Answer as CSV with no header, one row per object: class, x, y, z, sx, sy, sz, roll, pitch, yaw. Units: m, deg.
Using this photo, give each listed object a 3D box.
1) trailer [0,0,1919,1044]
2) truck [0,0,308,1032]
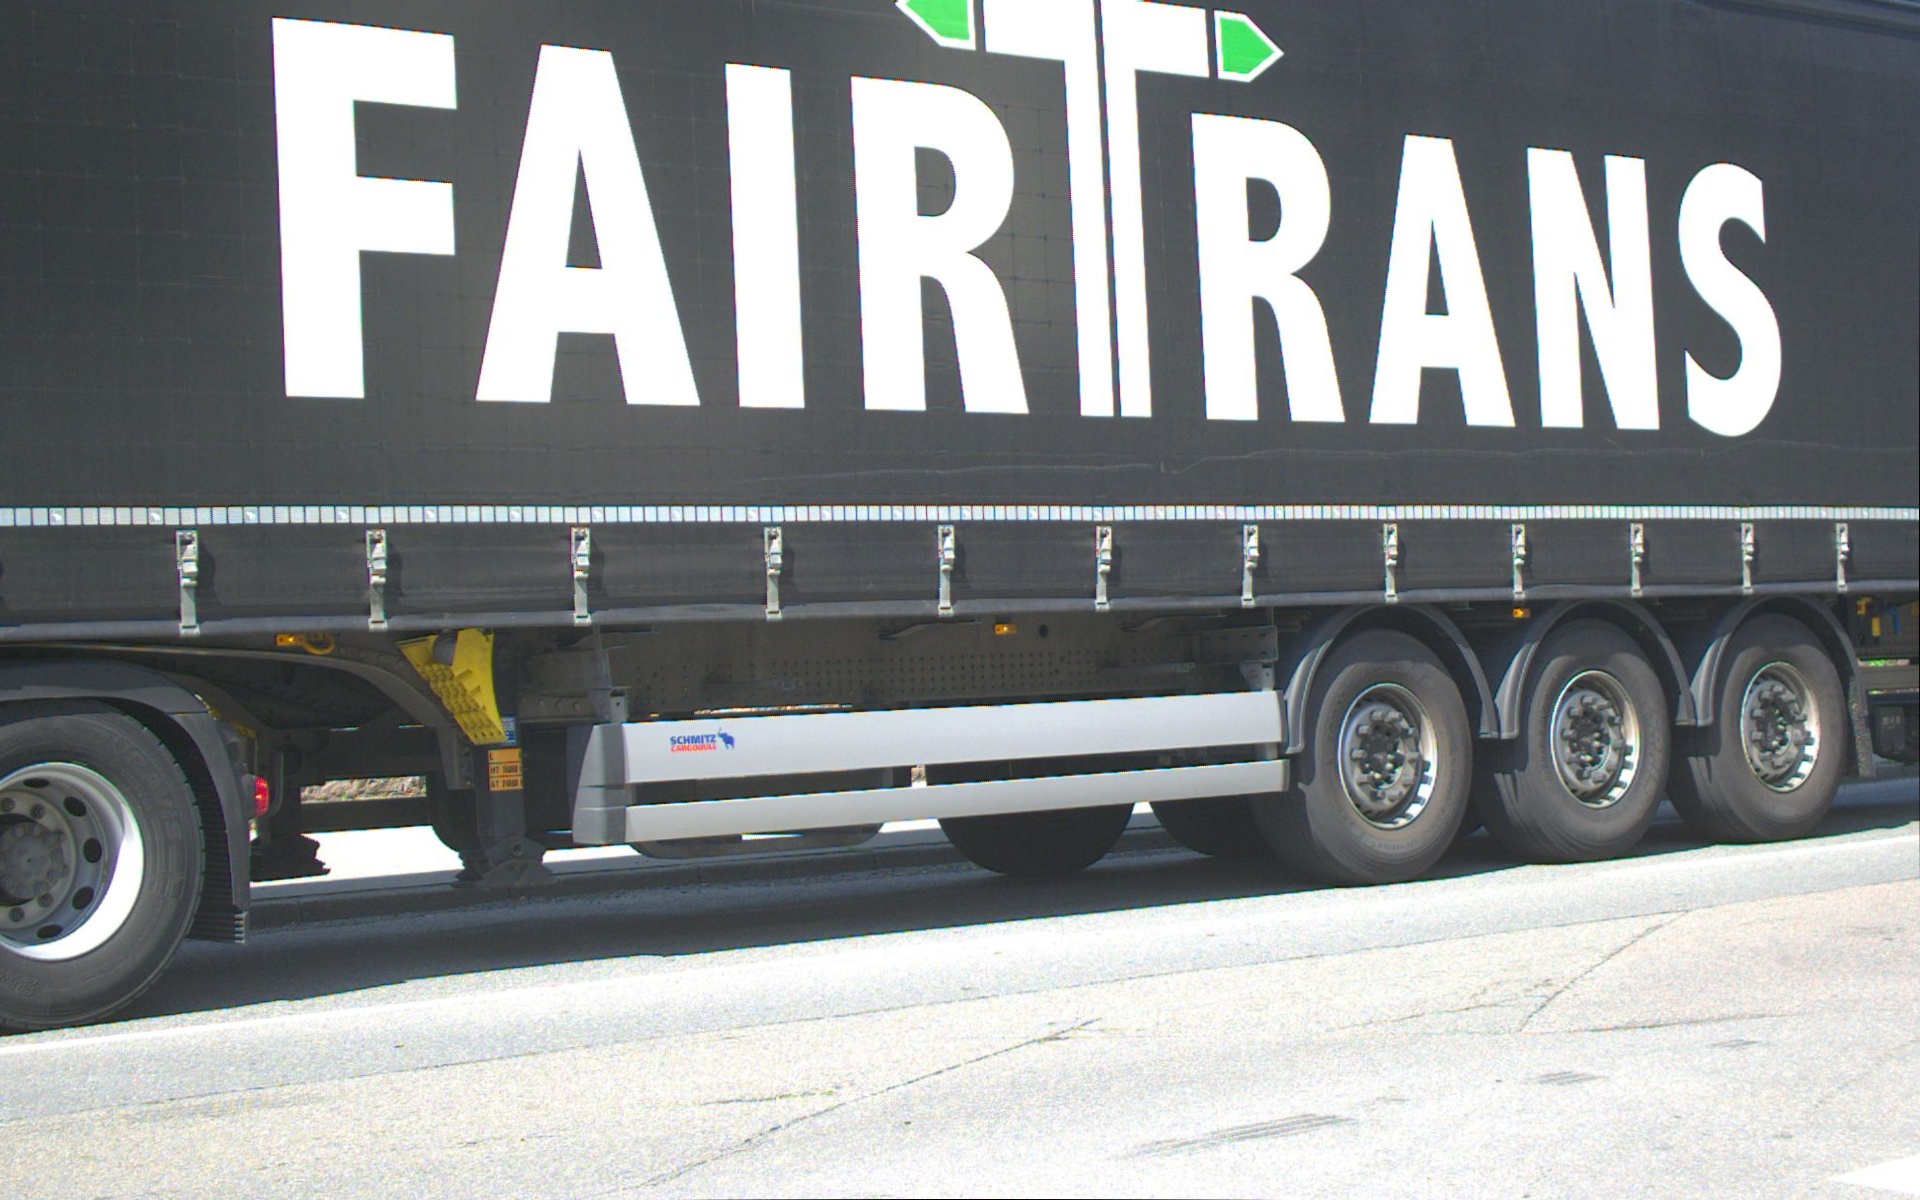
trailer,-0.147,-0.827,14.158,13.732,4.090,2.841,-2,-1,-40
truck,-5.266,-0.677,9.840,5.915,4.057,2.838,-2,-1,-40
